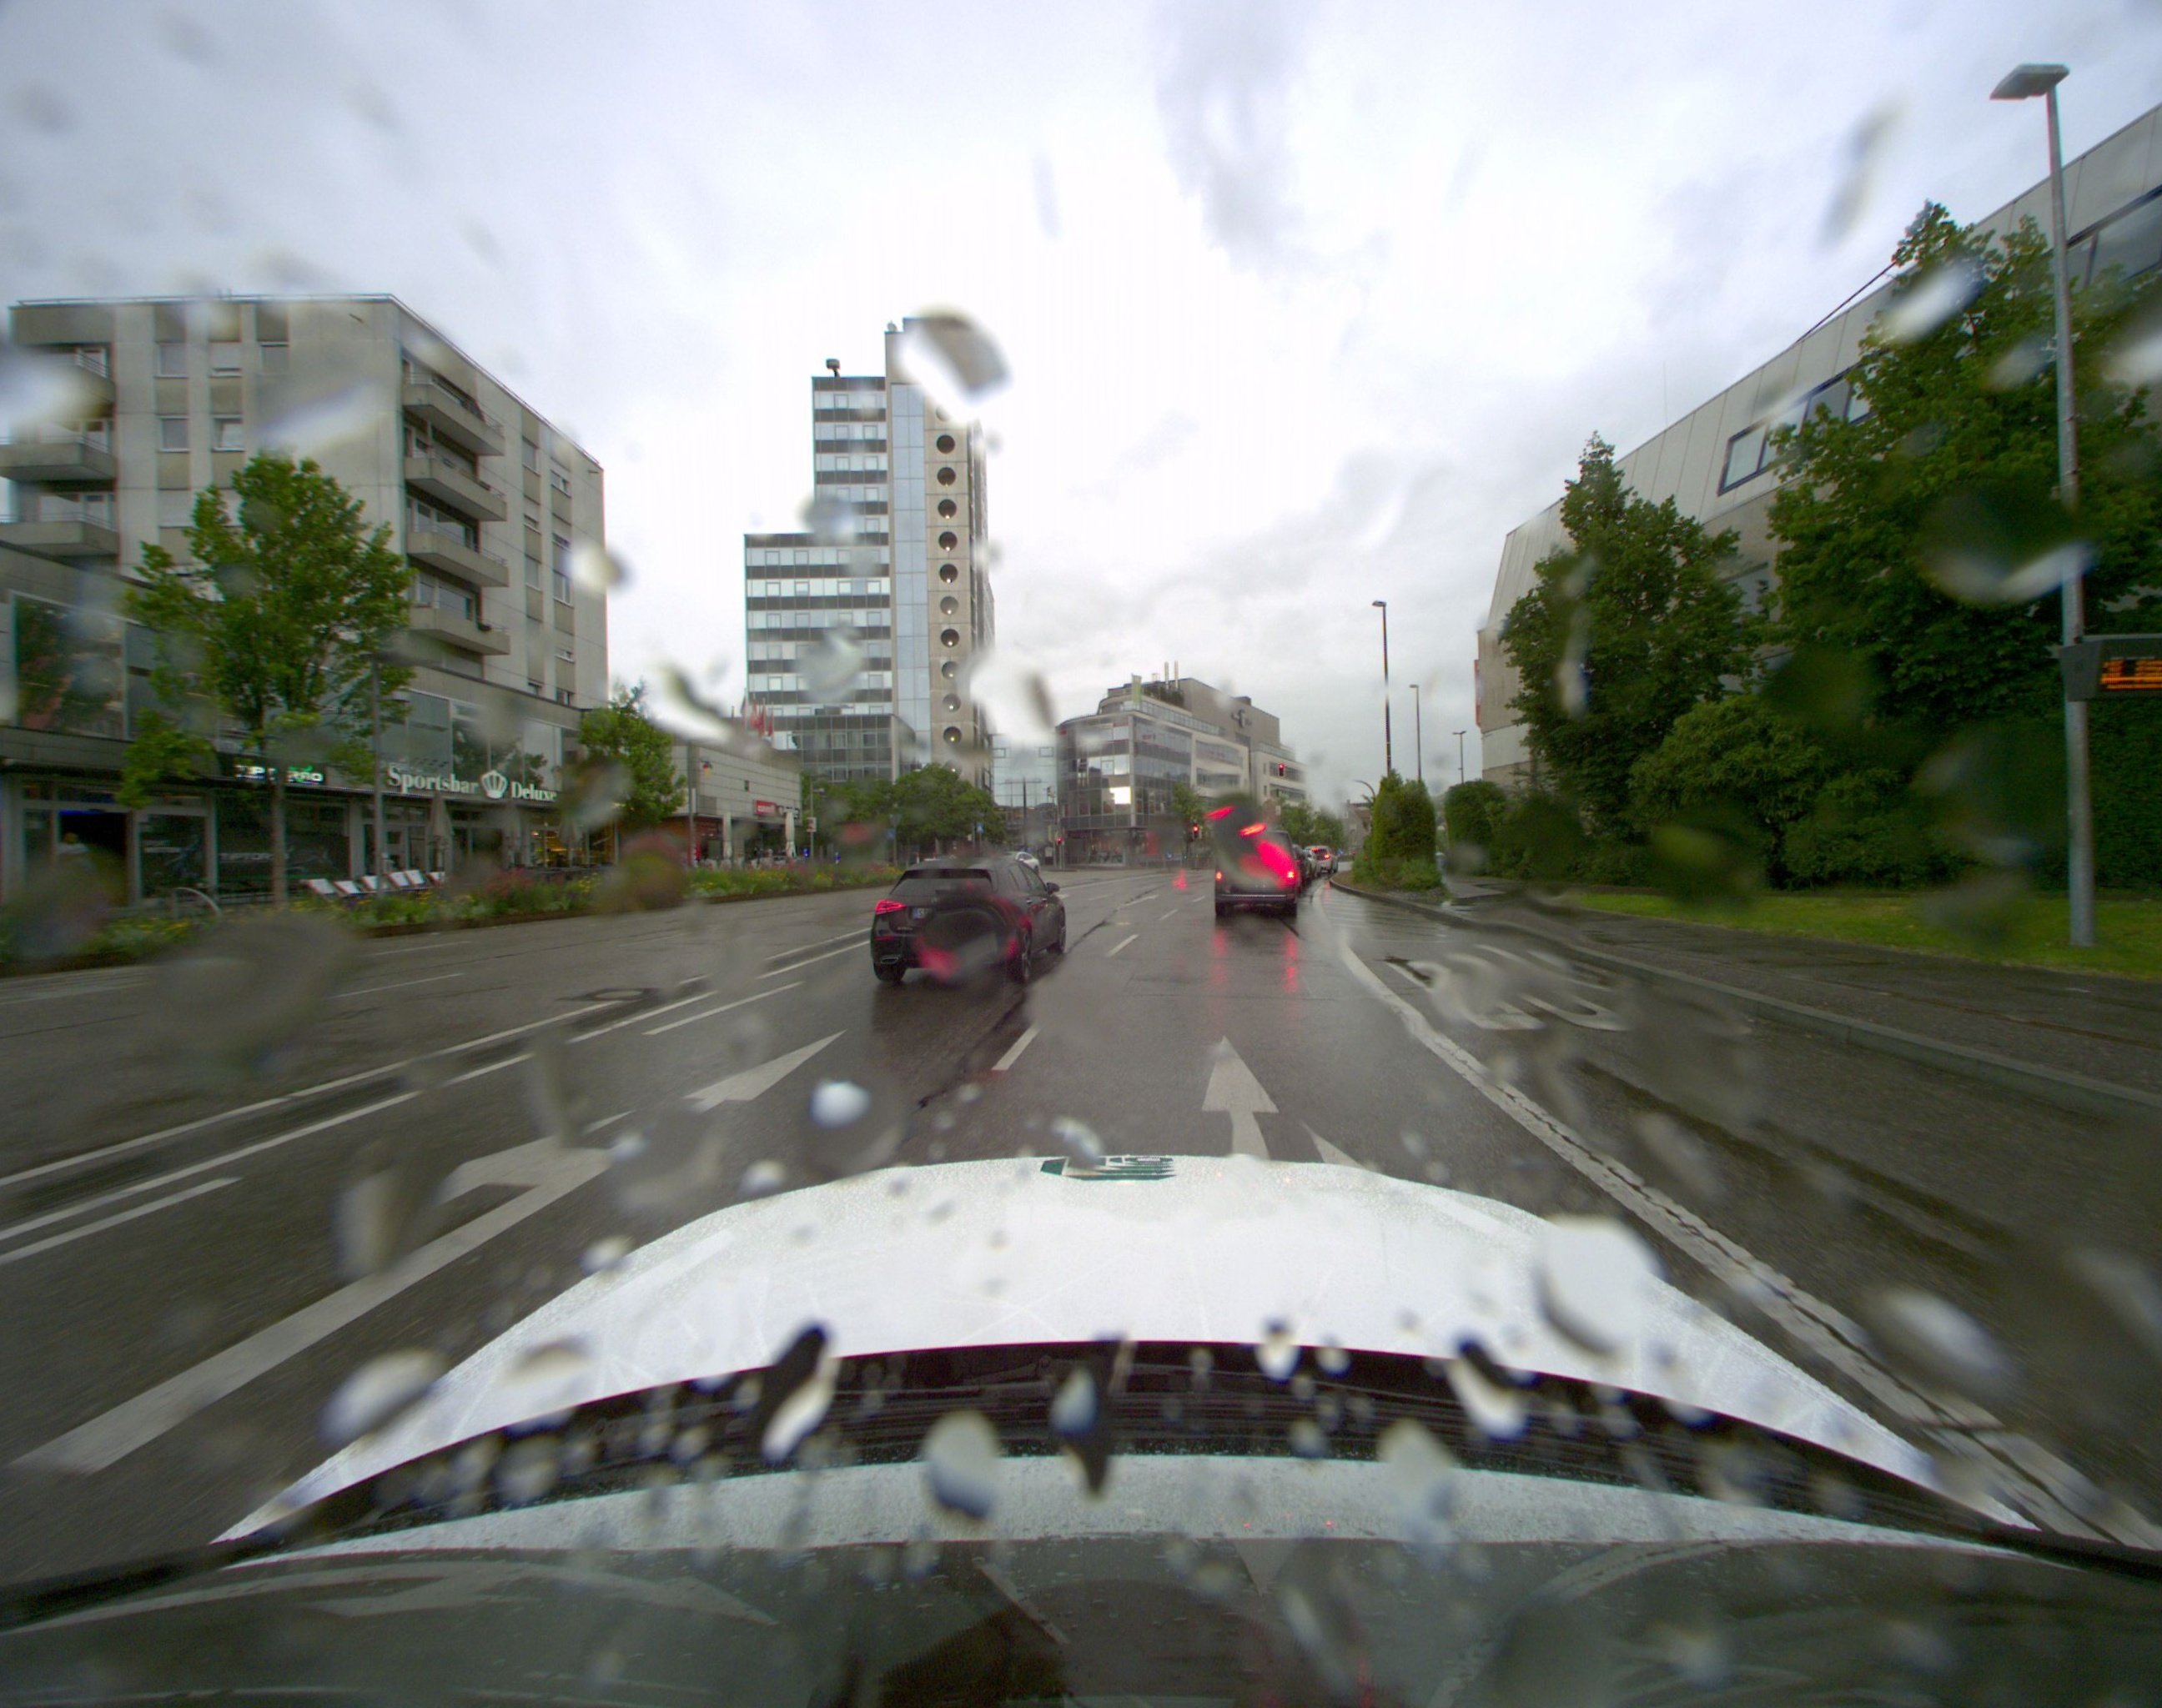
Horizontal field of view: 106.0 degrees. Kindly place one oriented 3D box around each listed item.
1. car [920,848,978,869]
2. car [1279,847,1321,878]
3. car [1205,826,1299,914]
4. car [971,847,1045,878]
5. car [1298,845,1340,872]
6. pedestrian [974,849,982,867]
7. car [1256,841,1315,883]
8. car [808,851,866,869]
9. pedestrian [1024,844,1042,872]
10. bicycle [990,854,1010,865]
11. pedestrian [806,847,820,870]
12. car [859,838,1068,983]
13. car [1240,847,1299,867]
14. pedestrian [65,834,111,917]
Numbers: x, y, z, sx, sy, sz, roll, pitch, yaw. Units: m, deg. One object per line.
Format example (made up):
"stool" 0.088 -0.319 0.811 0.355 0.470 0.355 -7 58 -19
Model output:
"car" -10.360 0.341 64.152 4.174 1.595 1.872 0 0 3
"car" 10.812 0.420 40.065 1.620 1.448 4.289 0 -1 20
"car" 4.209 0.350 19.927 1.982 1.894 4.603 0 0 12
"car" -3.554 0.386 40.674 1.827 1.460 4.832 0 0 19
"car" 13.451 0.238 45.876 1.895 1.400 3.476 -1 0 22
"pedestrian" -11.376 0.428 89.643 0.759 2.013 0.715 -1 0 3
"car" 8.484 0.301 33.508 1.885 1.621 4.357 0 0 20
"car" -19.507 0.456 65.245 4.026 1.420 1.873 -1 0 5
"pedestrian" -3.434 0.285 58.441 1.161 2.013 1.325 -1 0 -8
"bicycle" -9.420 0.626 95.148 2.268 1.247 0.676 -1 -1 -3
"pedestrian" -15.642 0.242 47.513 0.491 1.347 0.540 -1 0 35
"car" -1.309 0.600 10.693 1.806 1.530 3.819 1 0 6
"car" 15.868 0.230 68.549 4.507 1.682 1.879 0 0 -21
"pedestrian" -22.435 0.473 18.406 0.423 1.848 0.503 -1 0 10
